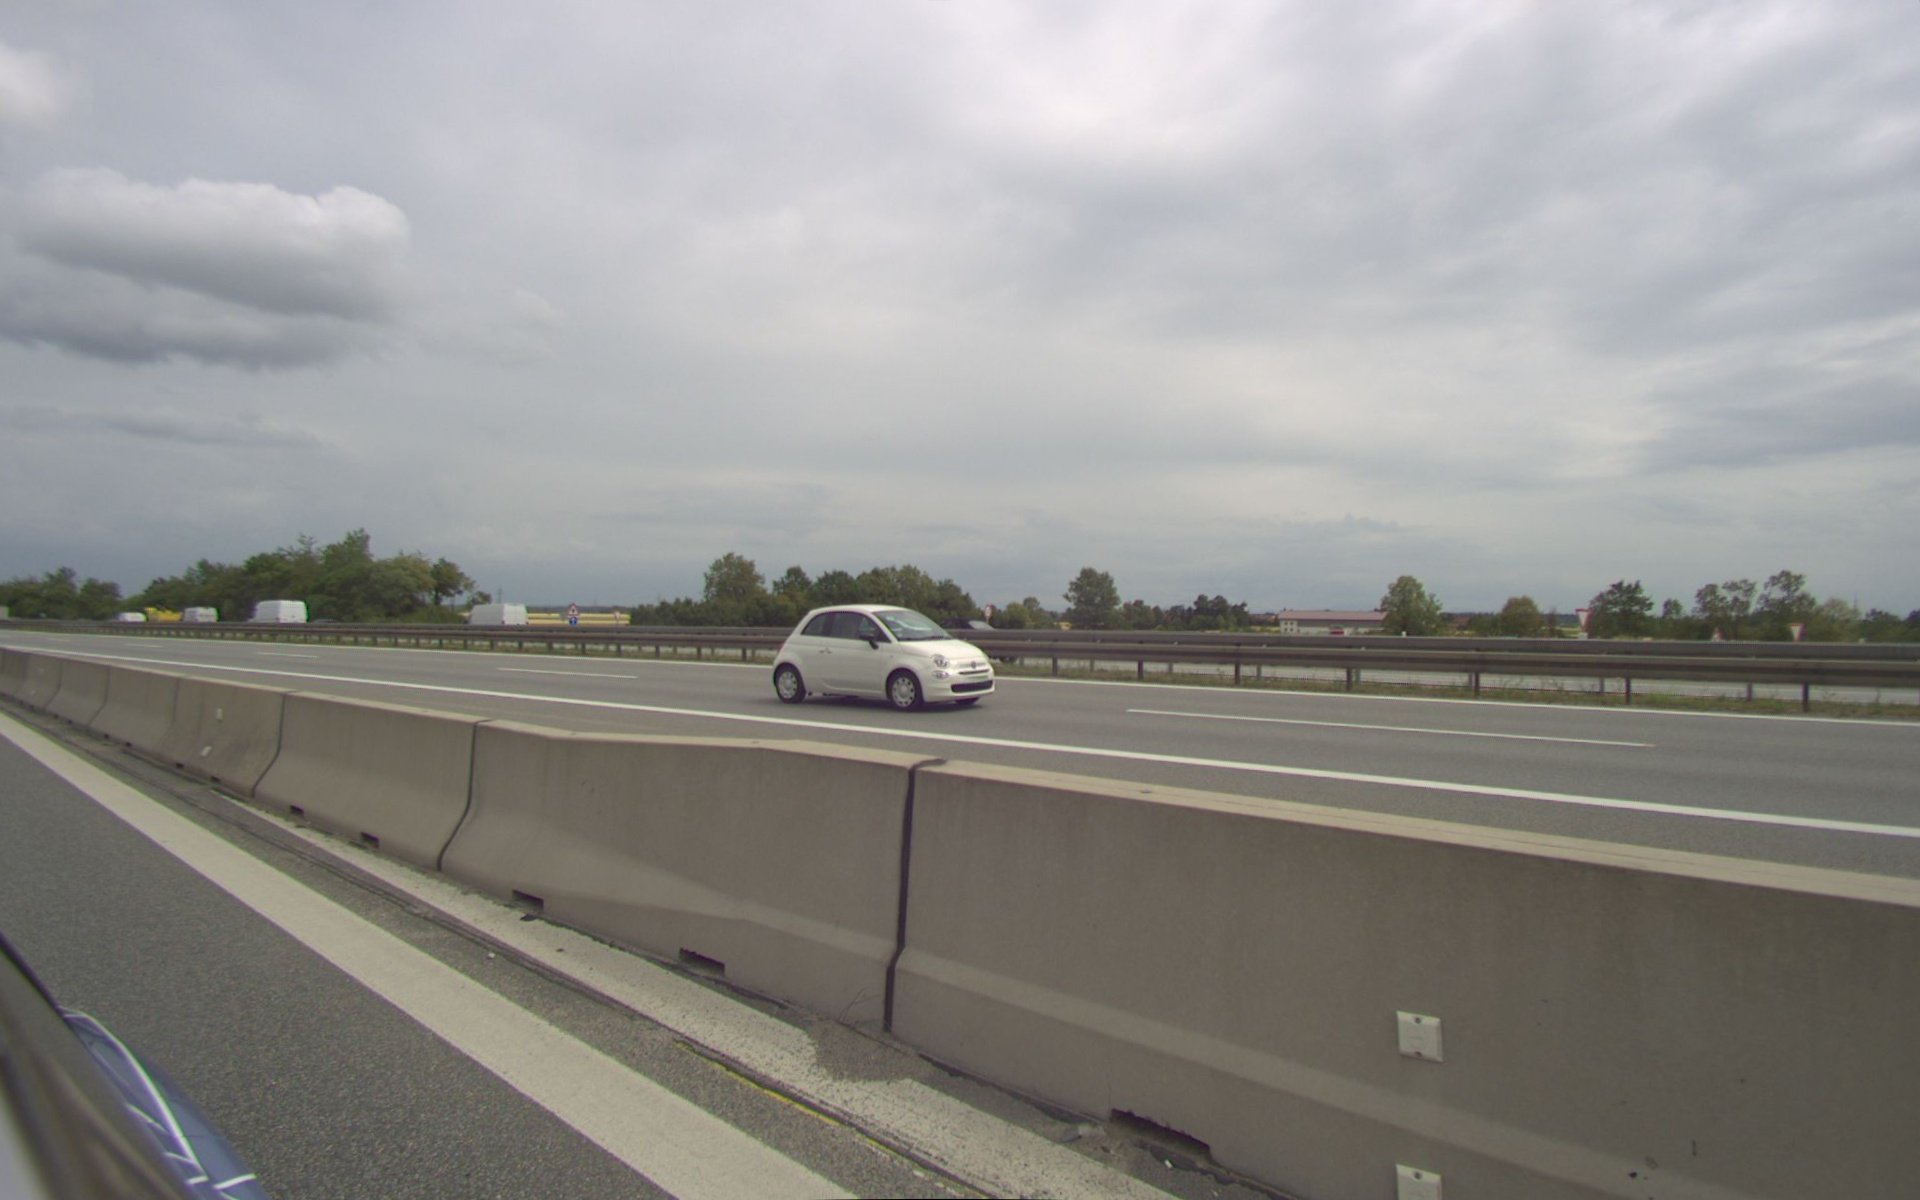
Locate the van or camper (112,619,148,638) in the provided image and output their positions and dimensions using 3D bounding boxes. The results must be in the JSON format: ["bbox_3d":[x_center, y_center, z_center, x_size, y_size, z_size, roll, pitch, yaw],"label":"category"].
[{"bbox_3d":[-82.034,2.783,100.046,4.343,1.842,1.974,-1,-1,39],"label":"van or camper"}]

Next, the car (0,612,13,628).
[{"bbox_3d":[-129.488,2.710,136.676,3.998,2.029,1.973,-1,-1,41],"label":"car"}]

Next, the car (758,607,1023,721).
[{"bbox_3d":[-1.086,0.868,15.059,3.767,1.496,1.666,-1,-1,36],"label":"car"}]

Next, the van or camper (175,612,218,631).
[{"bbox_3d":[-85.108,2.436,112.782,6.266,2.029,2.215,-1,-1,36],"label":"van or camper"}]

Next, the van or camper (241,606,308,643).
[{"bbox_3d":[-51.126,1.808,75.405,6.895,2.639,2.166,-1,-1,38],"label":"van or camper"}]

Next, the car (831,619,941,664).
[{"bbox_3d":[-2.654,1.426,35.871,3.997,1.475,1.507,-1,-1,40],"label":"car"}]

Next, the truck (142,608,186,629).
[{"bbox_3d":[-107.065,2.497,136.075,8.774,2.795,2.877,-1,-1,40],"label":"truck"}]

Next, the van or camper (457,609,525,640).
[{"bbox_3d":[-34.861,1.797,75.219,5.800,2.188,2.166,-1,-1,37],"label":"van or camper"}]

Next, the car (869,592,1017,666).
[{"bbox_3d":[-0.543,0.813,29.806,3.993,2.029,1.975,-1,-1,37],"label":"car"}]

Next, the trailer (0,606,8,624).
[{"bbox_3d":[-179.620,2.868,187.565,9.810,3.294,3.167,-1,-1,38],"label":"trailer"}]
